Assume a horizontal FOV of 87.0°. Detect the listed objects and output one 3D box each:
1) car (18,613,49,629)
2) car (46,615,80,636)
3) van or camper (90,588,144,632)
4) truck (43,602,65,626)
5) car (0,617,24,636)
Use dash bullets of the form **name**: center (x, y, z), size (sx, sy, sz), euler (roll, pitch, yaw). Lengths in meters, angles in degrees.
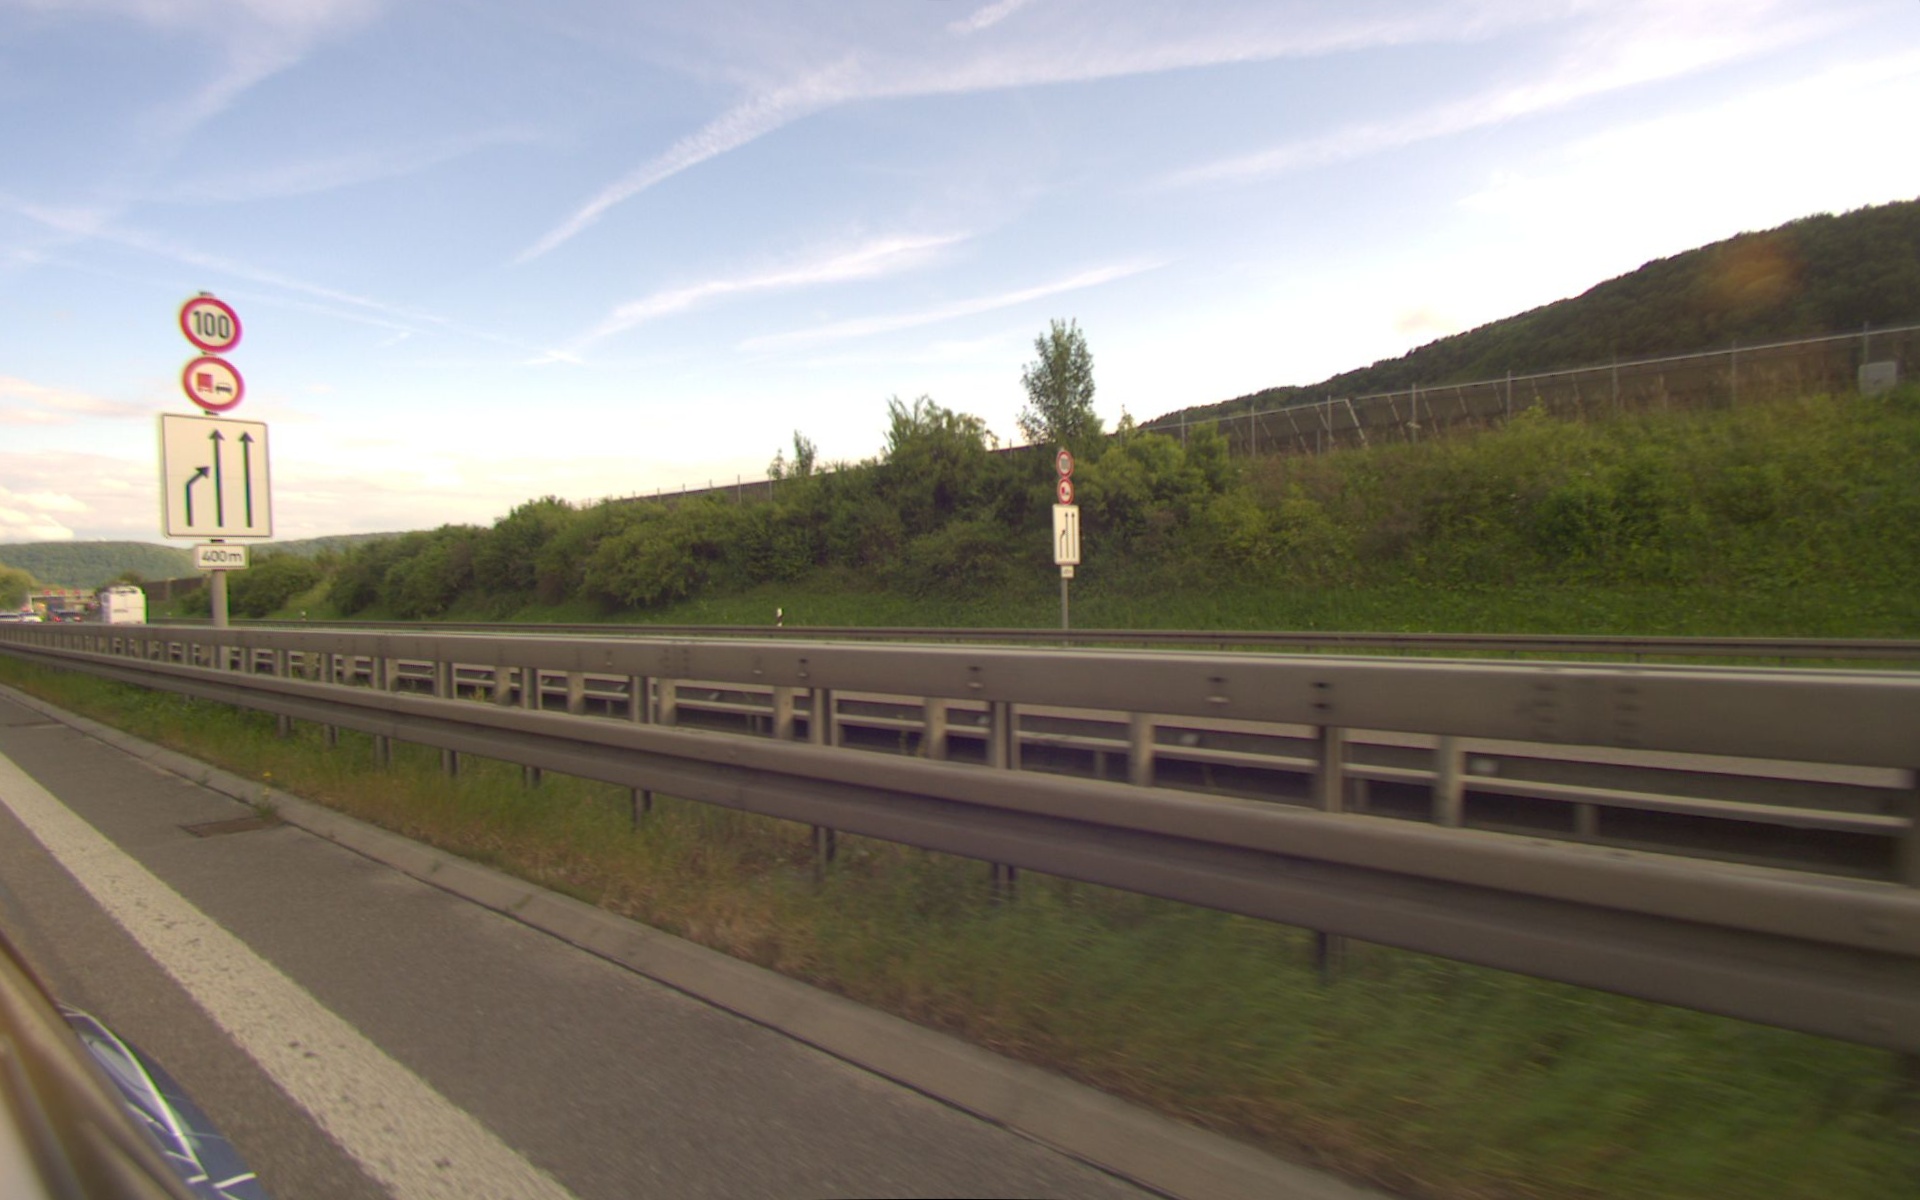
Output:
- **car**: center (-97.723, 2.224, 106.727), size (3.736, 1.639, 1.973), euler (-1, -1, 41)
- **car**: center (-73.214, 2.082, 82.547), size (4.344, 1.669, 1.626), euler (-1, 0, 42)
- **van or camper**: center (-71.943, 0.878, 86.327), size (7.976, 3.578, 2.455), euler (-1, 0, 42)
- **truck**: center (-168.797, 2.679, 188.566), size (2.617, 4.311, 14.701), euler (0, -1, -40)
- **car**: center (-72.630, 1.991, 77.086), size (3.763, 1.420, 1.760), euler (-1, 0, 44)
